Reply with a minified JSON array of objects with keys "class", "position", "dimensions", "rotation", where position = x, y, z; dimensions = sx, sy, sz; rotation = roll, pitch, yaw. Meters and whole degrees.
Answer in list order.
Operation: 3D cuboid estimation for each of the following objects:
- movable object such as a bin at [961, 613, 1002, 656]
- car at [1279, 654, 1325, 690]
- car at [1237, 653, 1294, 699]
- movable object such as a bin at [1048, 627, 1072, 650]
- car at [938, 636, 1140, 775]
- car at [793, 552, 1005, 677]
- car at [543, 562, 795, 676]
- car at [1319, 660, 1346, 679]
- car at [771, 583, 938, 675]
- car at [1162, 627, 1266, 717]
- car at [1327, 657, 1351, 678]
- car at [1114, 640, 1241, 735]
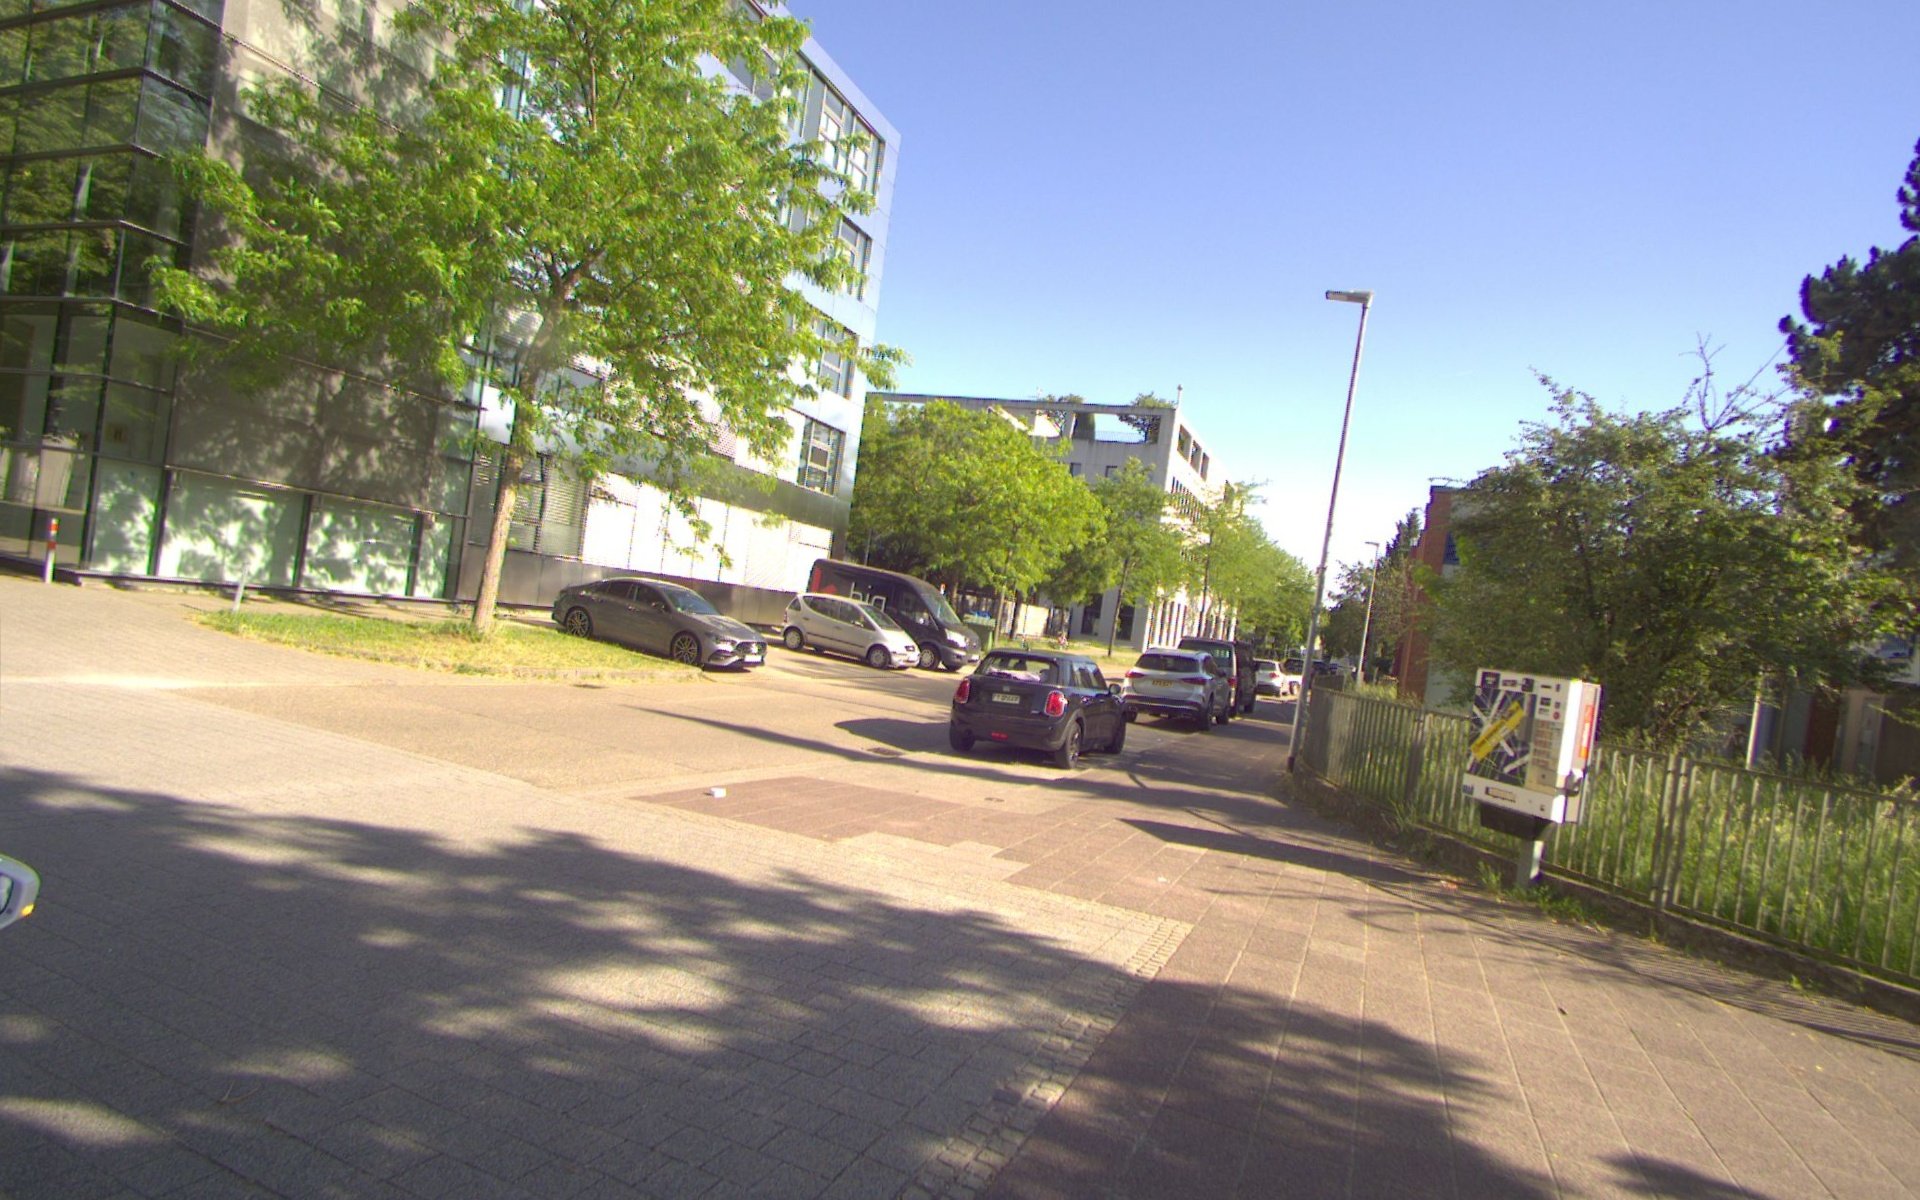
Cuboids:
[{"class":"movable object such as a bin","position":[0.817,1.299,38.118],"dimensions":[1.273,1.431,1.228],"rotation":[8,1,6]},{"class":"car","position":[18.855,3.955,55.281],"dimensions":[1.811,1.653,4.199],"rotation":[8,0,24]},{"class":"car","position":[12.726,3.151,41.778],"dimensions":[1.635,1.580,3.932],"rotation":[8,0,24]},{"class":"movable object such as a bin","position":[5.702,2.182,57.266],"dimensions":[0.653,1.196,1.934],"rotation":[8,0,24]},{"class":"car","position":[1.259,1.410,14.171],"dimensions":[1.627,1.490,3.764],"rotation":[7,-1,23]},{"class":"car","position":[-1.779,0.420,29.121],"dimensions":[5.372,2.654,2.231],"rotation":[10,1,22]},{"class":"car","position":[-5.760,0.382,19.880],"dimensions":[4.467,1.366,1.892],"rotation":[11,1,23]},{"class":"car","position":[35.594,6.688,96.102],"dimensions":[1.964,1.459,3.999],"rotation":[8,-1,24]},{"class":"car","position":[-2.785,0.775,26.728],"dimensions":[3.774,1.665,1.892],"rotation":[11,1,24]},{"class":"car","position":[7.180,2.008,28.057],"dimensions":[1.914,2.046,4.825],"rotation":[7,-1,23]},{"class":"car","position":[38.350,6.841,101.787],"dimensions":[1.964,1.856,3.998],"rotation":[5,-1,24]},{"class":"car","position":[4.865,1.873,22.008],"dimensions":[1.798,1.648,4.293],"rotation":[7,-1,23]}]
